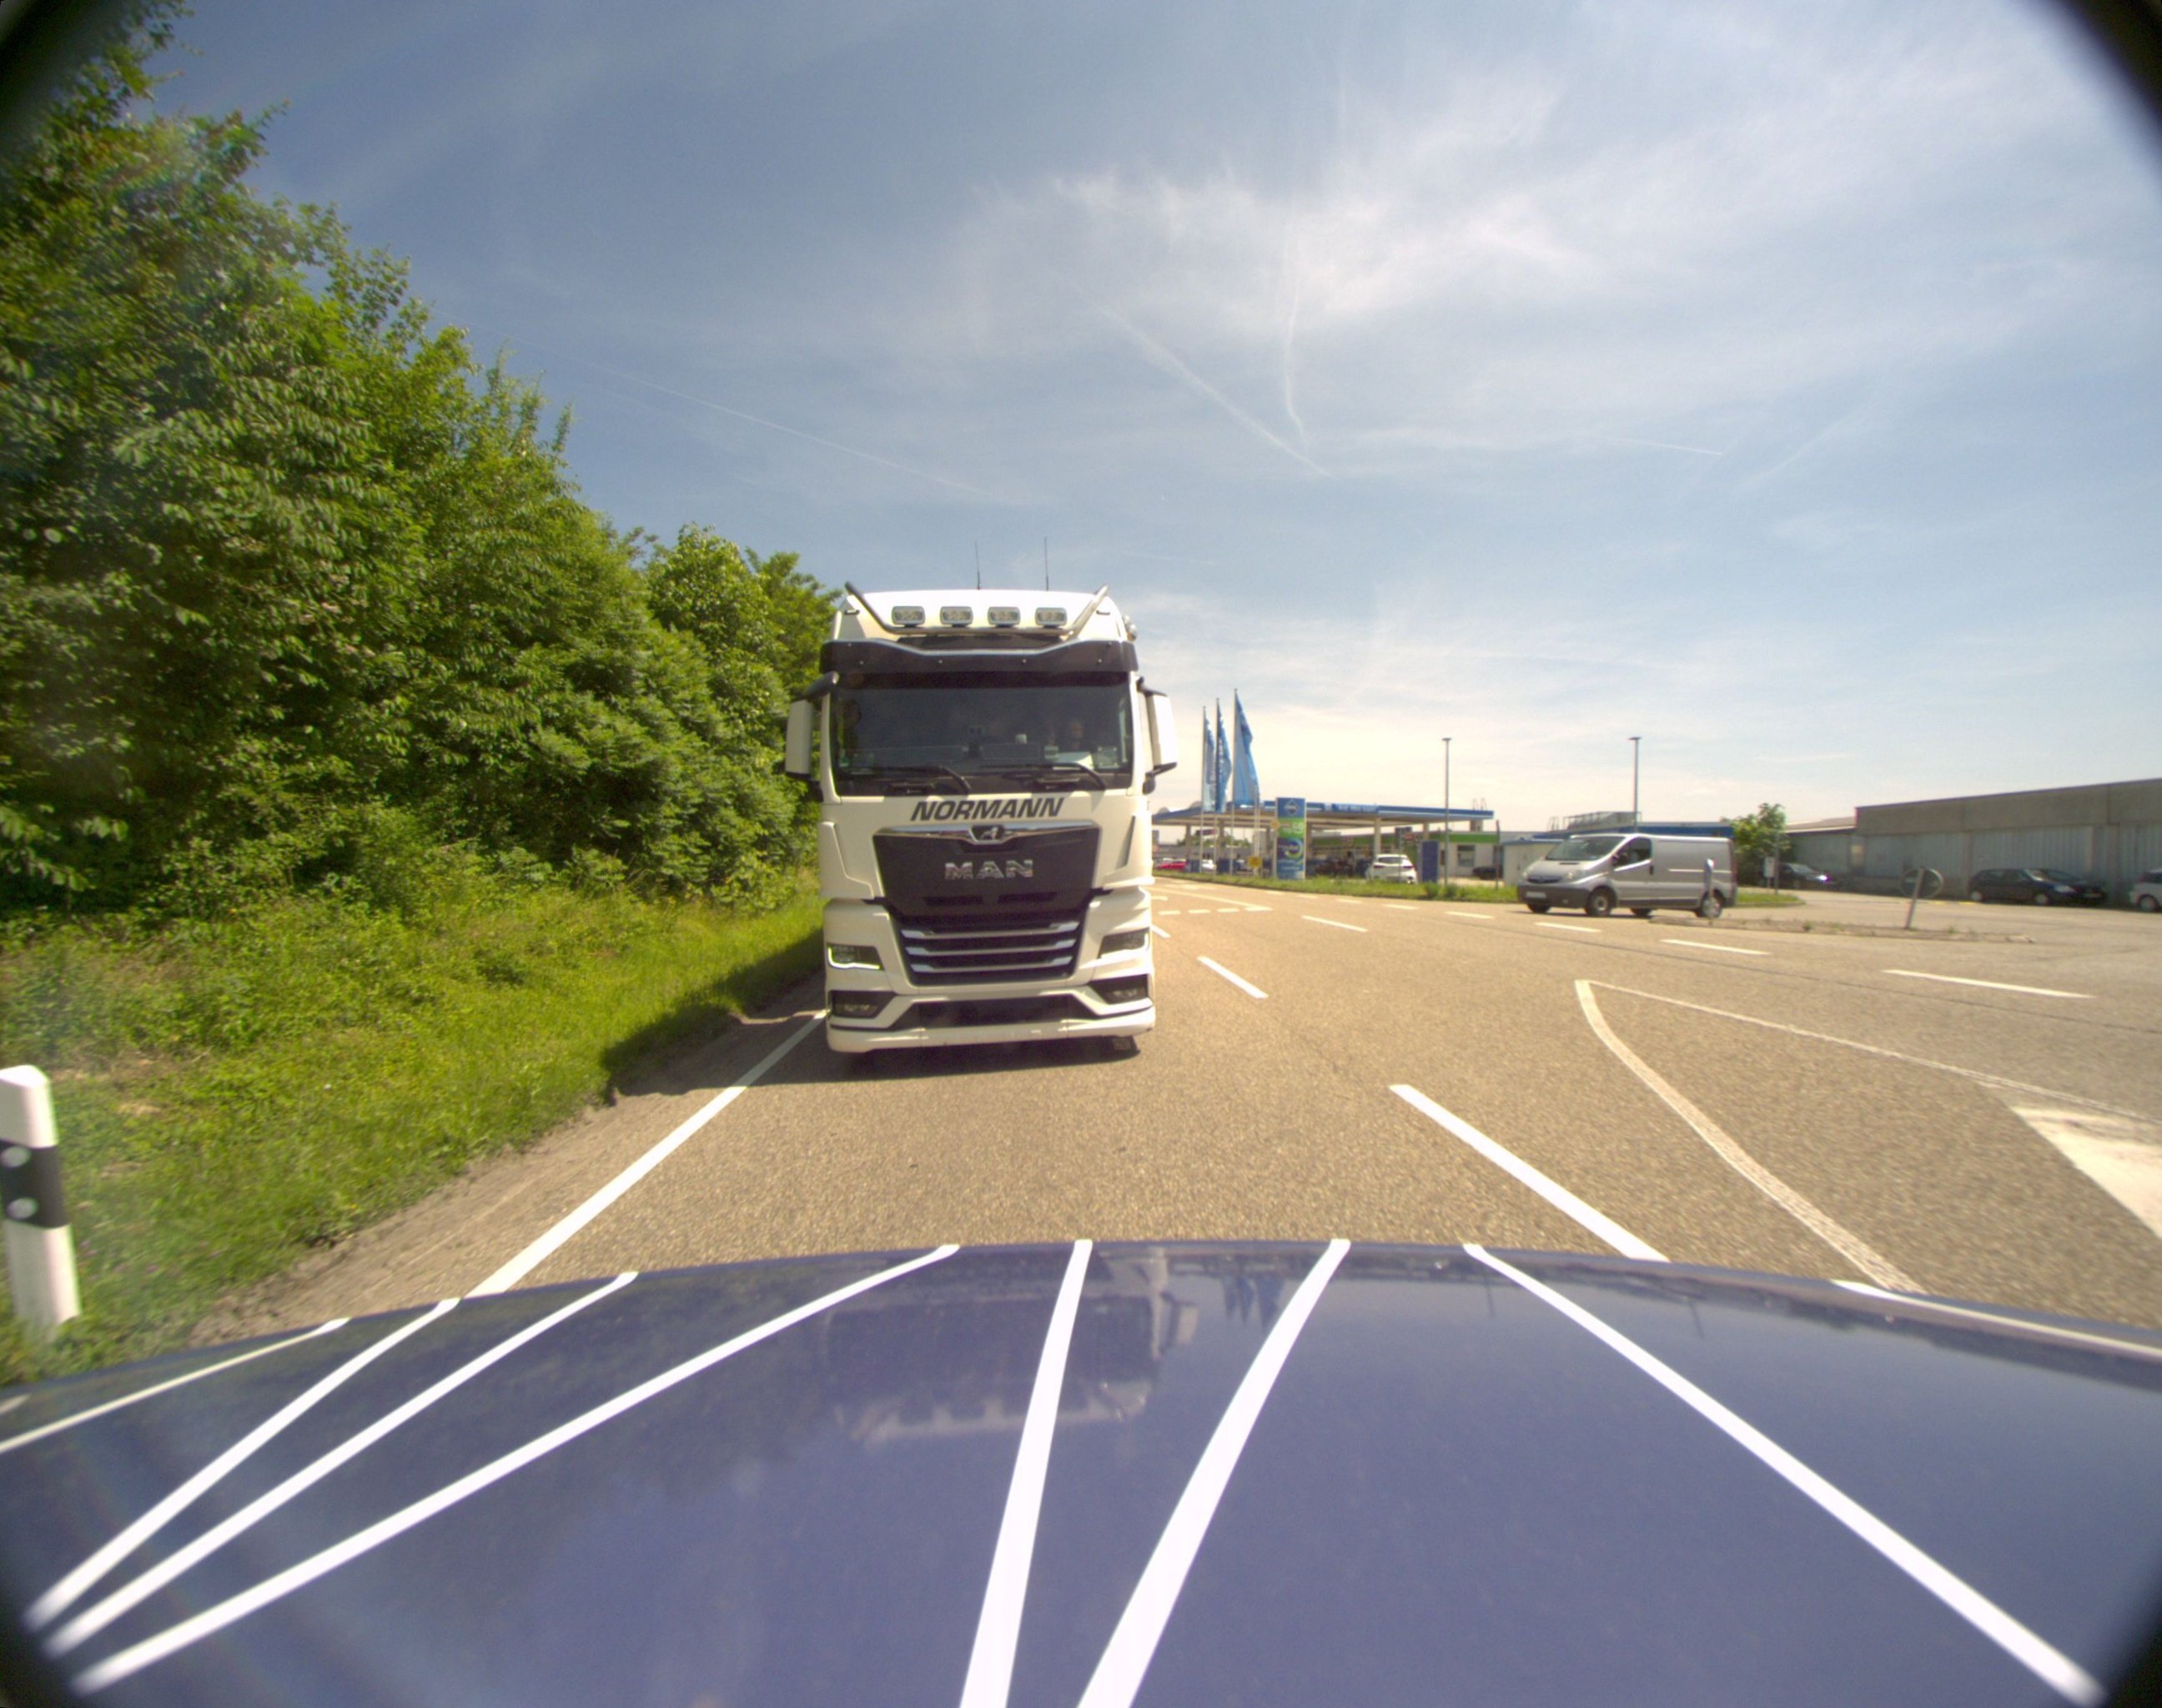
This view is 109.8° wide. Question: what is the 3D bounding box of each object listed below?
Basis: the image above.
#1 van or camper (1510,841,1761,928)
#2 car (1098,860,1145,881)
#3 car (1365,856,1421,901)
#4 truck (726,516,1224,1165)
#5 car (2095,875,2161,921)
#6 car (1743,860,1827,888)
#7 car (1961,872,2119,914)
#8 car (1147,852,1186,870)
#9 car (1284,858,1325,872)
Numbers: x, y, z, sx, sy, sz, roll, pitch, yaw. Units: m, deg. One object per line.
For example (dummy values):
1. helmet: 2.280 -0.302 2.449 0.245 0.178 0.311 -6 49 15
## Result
1. van or camper: 12.899 0.698 17.795 4.864 1.893 1.902 1 0 -11
2. car: 3.530 1.416 67.039 1.838 1.709 4.557 -1 1 -33
3. car: 13.669 1.006 33.508 1.865 1.702 4.524 -1 2 17
4. truck: -1.501 -0.319 13.717 2.982 4.071 17.620 -3 2 -6
5. car: 35.832 1.448 24.321 1.915 1.420 4.107 -1 0 15
6. car: 39.360 1.111 42.591 1.757 1.433 3.904 -1 0 13
7. car: 37.170 1.465 29.621 1.757 1.433 3.904 -1 0 13
8. car: 9.753 0.801 86.919 4.001 1.892 1.998 1 0 -10
9. car: 22.583 1.093 76.921 2.001 1.370 4.377 1 0 -13
